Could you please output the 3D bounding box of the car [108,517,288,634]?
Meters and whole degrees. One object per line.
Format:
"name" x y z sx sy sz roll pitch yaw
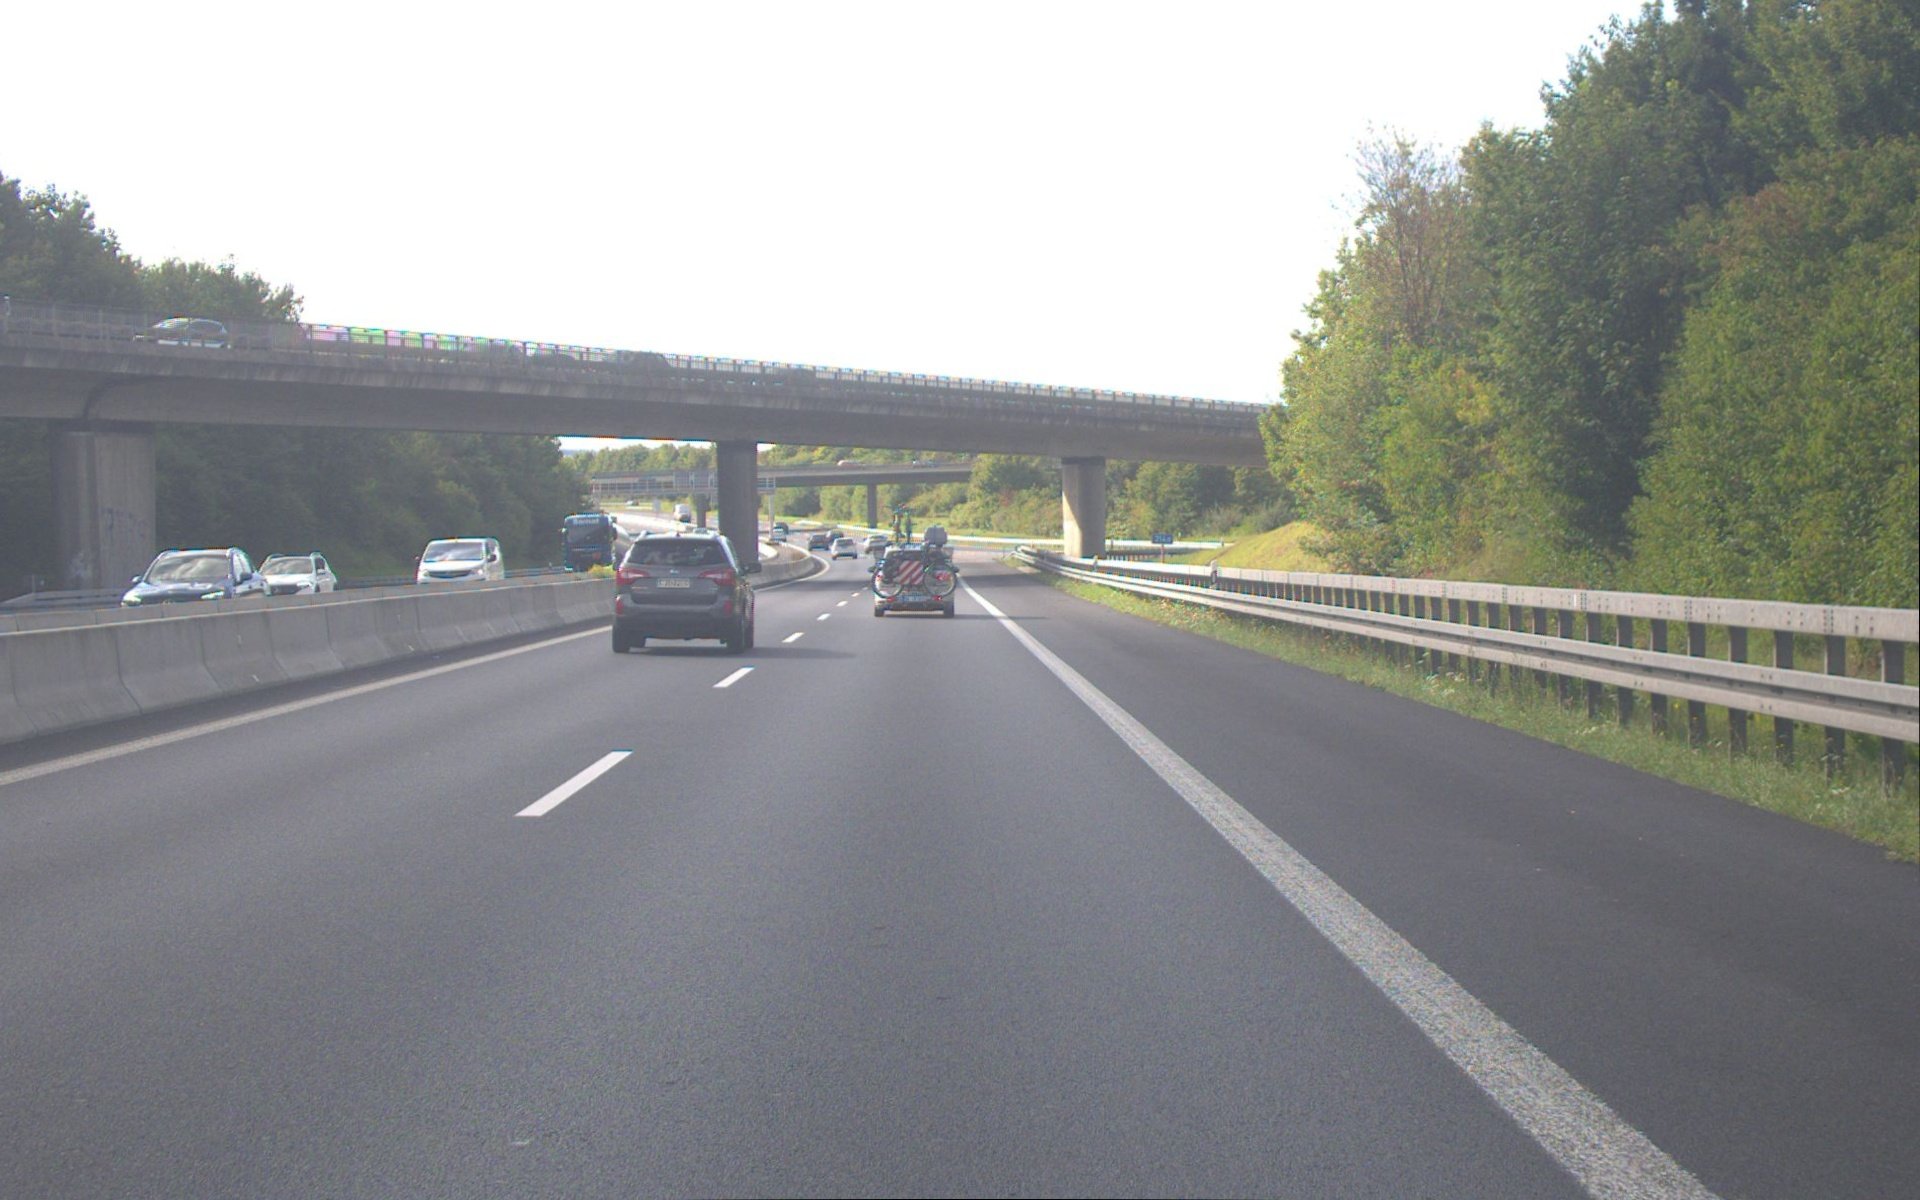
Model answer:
"car" -13.168 -0.442 59.702 1.993 1.890 5.141 -2 1 -1

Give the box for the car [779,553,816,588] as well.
"car" -9.671 -1.786 204.808 1.993 2.007 4.000 -2 1 -1

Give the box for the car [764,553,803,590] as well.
"car" -9.989 -1.621 195.082 1.993 2.007 4.000 -2 1 -1

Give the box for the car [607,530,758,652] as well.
"car" -3.943 -0.153 49.319 1.750 1.624 3.609 -2 1 1

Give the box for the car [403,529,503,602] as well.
"car" -13.798 -0.962 93.819 1.993 1.890 5.189 -2 1 -1

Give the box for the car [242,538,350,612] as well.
"car" -17.950 -0.697 93.108 1.993 1.890 4.823 -2 1 -1

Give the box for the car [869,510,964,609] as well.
"car" -0.948 -0.908 75.997 1.993 2.073 4.000 -2 1 0

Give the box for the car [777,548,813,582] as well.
"car" -10.340 -2.201 215.646 1.993 2.007 4.000 -2 1 -1

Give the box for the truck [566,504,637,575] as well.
"truck" -18.367 -3.107 176.680 2.676 3.434 9.829 -2 1 -1
